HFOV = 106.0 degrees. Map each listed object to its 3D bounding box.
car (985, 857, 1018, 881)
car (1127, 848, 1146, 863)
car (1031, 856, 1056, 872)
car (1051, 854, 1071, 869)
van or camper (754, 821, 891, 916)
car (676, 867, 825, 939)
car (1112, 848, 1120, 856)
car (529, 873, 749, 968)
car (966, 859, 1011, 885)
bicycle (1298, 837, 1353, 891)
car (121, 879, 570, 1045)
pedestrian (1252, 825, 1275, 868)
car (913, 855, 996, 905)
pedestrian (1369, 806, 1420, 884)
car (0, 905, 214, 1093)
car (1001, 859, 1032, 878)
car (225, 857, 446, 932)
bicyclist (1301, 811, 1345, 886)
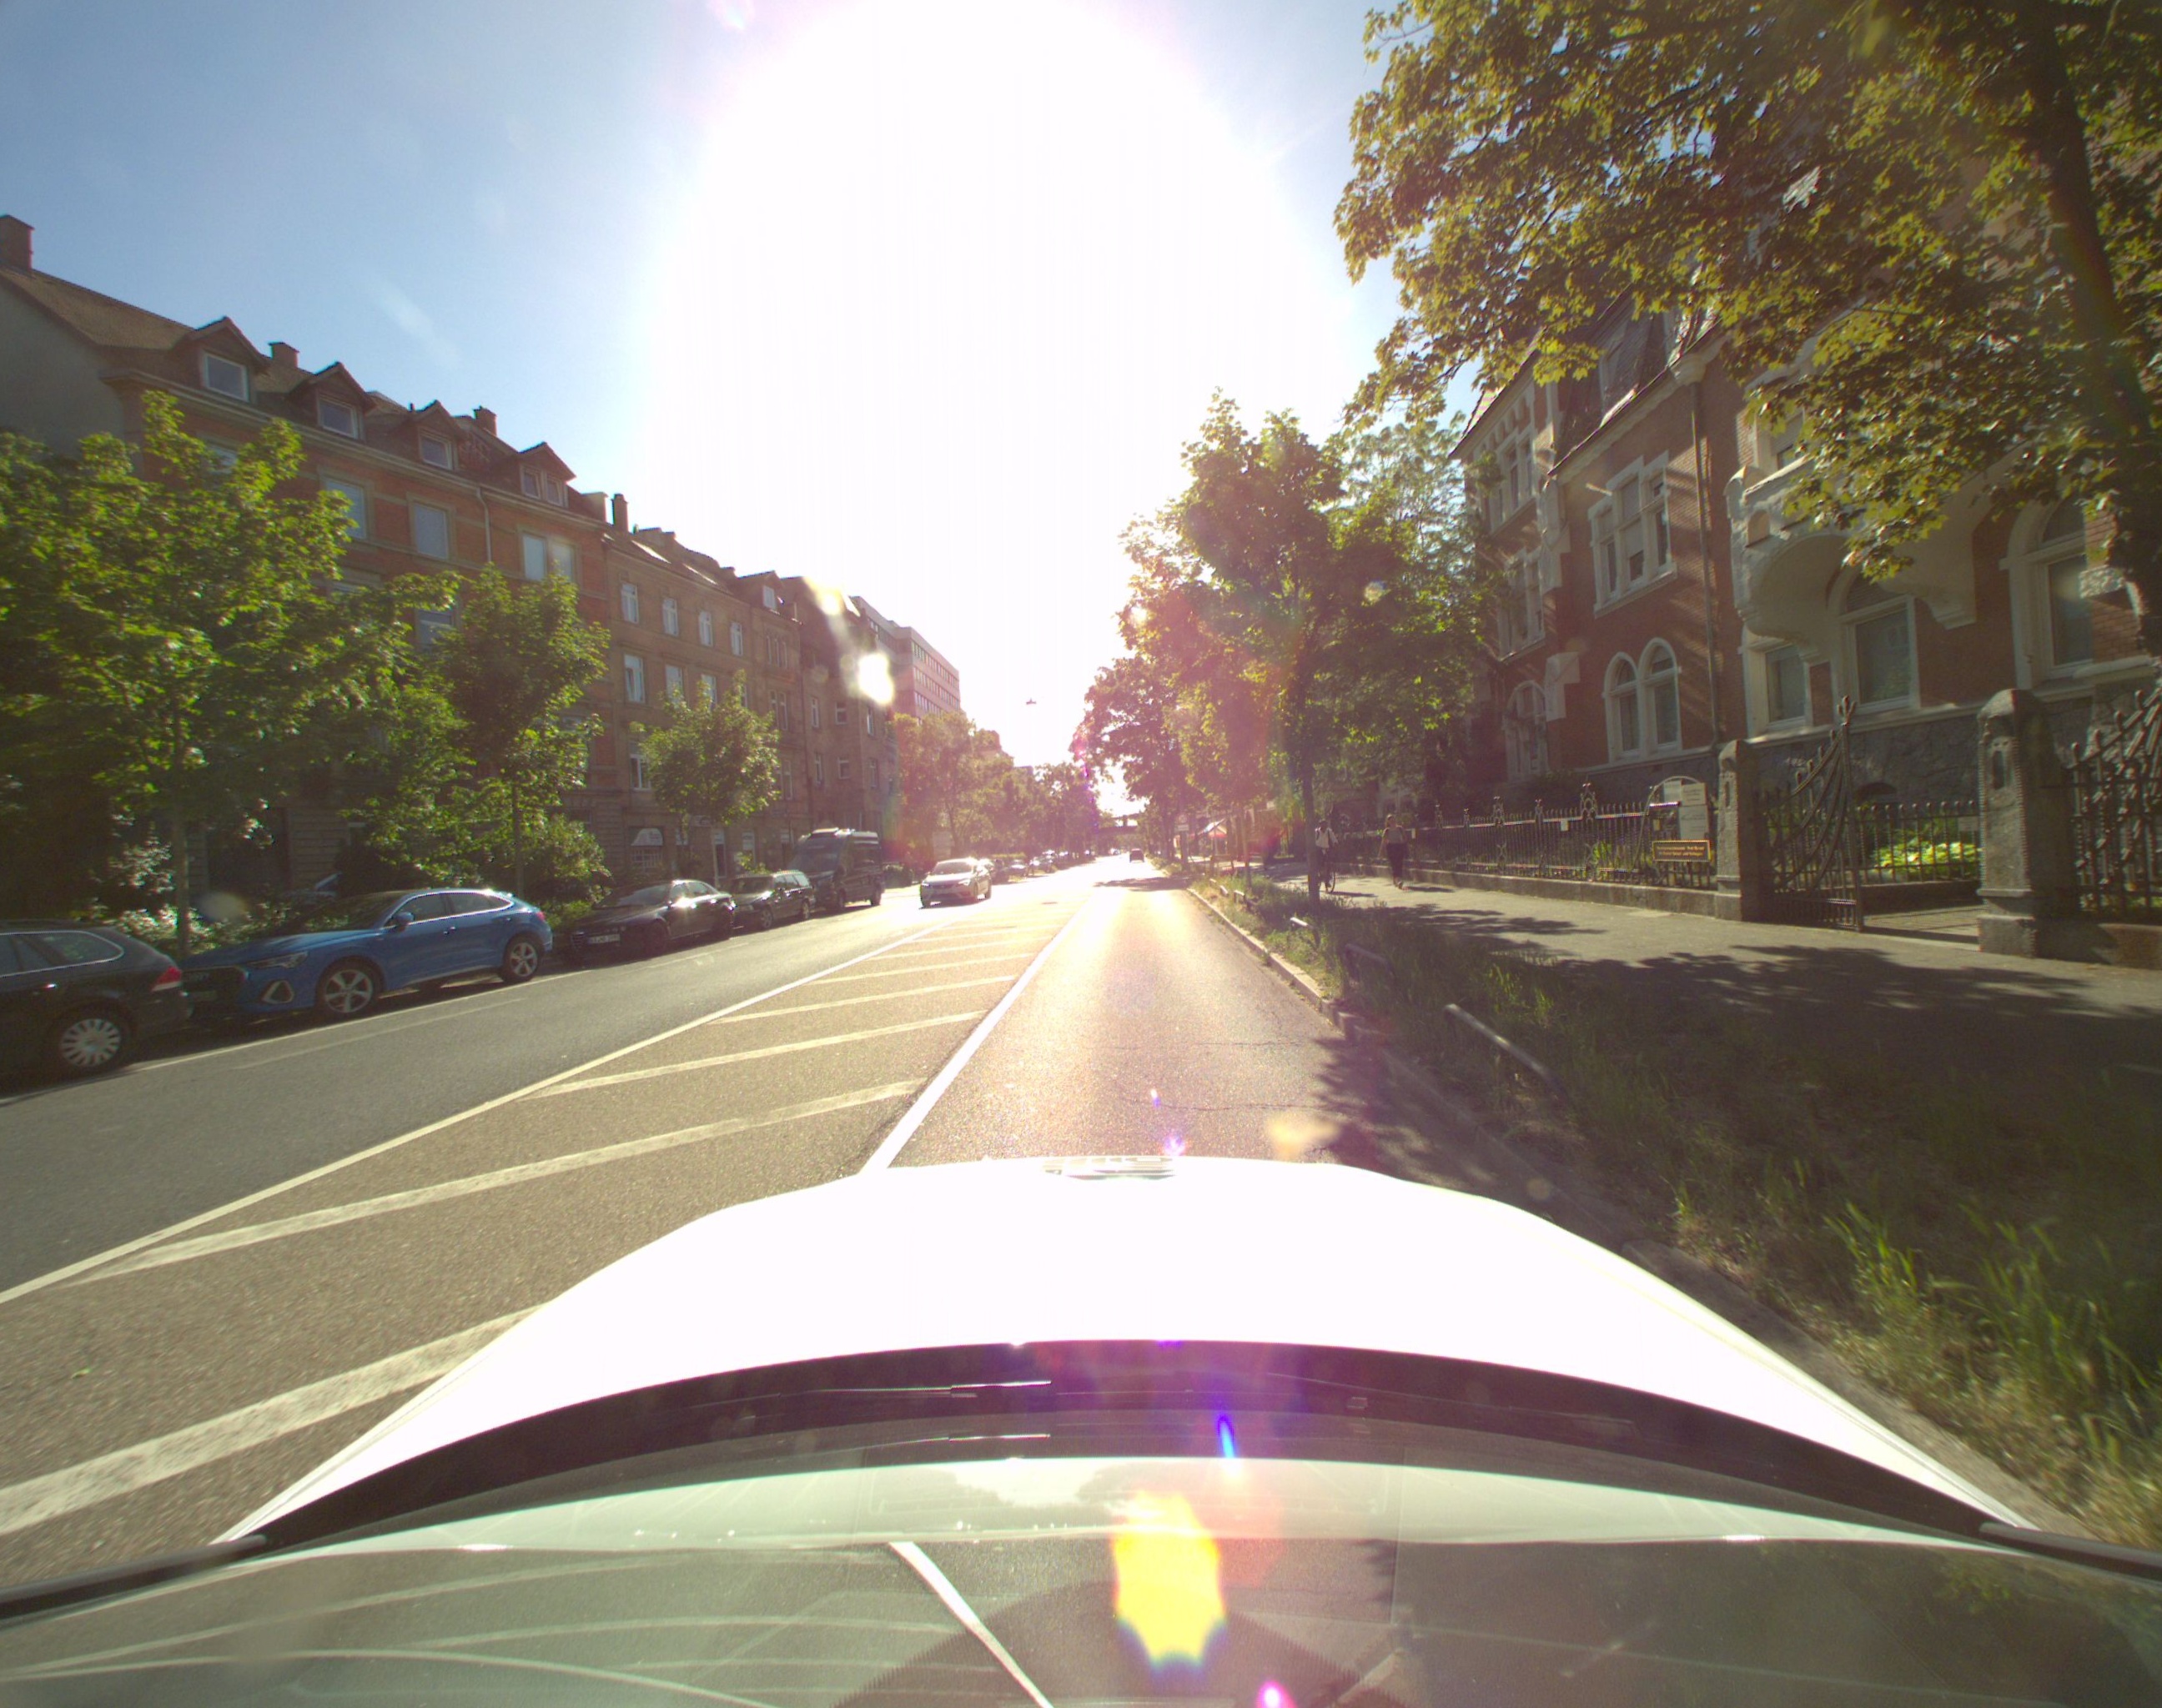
[{"bbox_3d":[-5.293,0.977,54.724,1.850,1.494,4.704,0,0,-1],"label":"car"},{"bbox_3d":[6.528,0.160,96.291,1.977,1.600,4.143,-3,0,2],"label":"car"},{"bbox_3d":[-3.539,0.961,77.988,1.679,1.383,4.199,-2,0,6],"label":"car"},{"bbox_3d":[-2.148,0.806,89.522,1.704,1.458,4.078,-2,0,5],"label":"car"},{"bbox_3d":[-8.532,0.416,27.664,2.207,2.739,6.094,-3,0,4],"label":"van or camper"},{"bbox_3d":[-8.593,1.200,21.708,1.686,1.456,4.668,-5,0,4],"label":"car"},{"bbox_3d":[9.297,-0.522,215.298,1.848,1.825,4.613,-5,0,3],"label":"car"},{"bbox_3d":[-8.764,1.235,16.699,1.773,1.413,4.410,-5,0,4],"label":"car"},{"bbox_3d":[-5.564,1.041,49.523,1.847,1.427,4.726,0,0,5],"label":"car"},{"bbox_3d":[5.830,0.230,19.550,0.614,1.176,1.919,-7,0,0],"label":"bicycle"},{"bbox_3d":[-9.719,1.291,11.434,1.772,1.538,4.565,-5,0,5],"label":"car"},{"bbox_3d":[7.902,-0.321,35.214,0.742,1.787,0.814,-6,0,17],"label":"pedestrian"},{"bbox_3d":[-4.138,0.809,27.397,1.911,1.419,4.227,-4,0,2],"label":"car"},{"bbox_3d":[7.070,-0.195,18.414,0.692,1.658,0.821,-6,-1,3],"label":"pedestrian"},{"bbox_3d":[-9.900,1.330,6.340,1.585,1.482,4.272,-6,-1,1],"label":"car"},{"bbox_3d":[-4.856,1.061,62.060,1.671,1.255,4.020,-2,0,4],"label":"car"},{"bbox_3d":[-22.175,1.155,24.457,1.841,1.914,4.479,-5,-2,28],"label":"car"},{"bbox_3d":[5.779,-0.128,19.500,0.618,1.690,0.820,-7,0,0],"label":"bicyclist"}]
